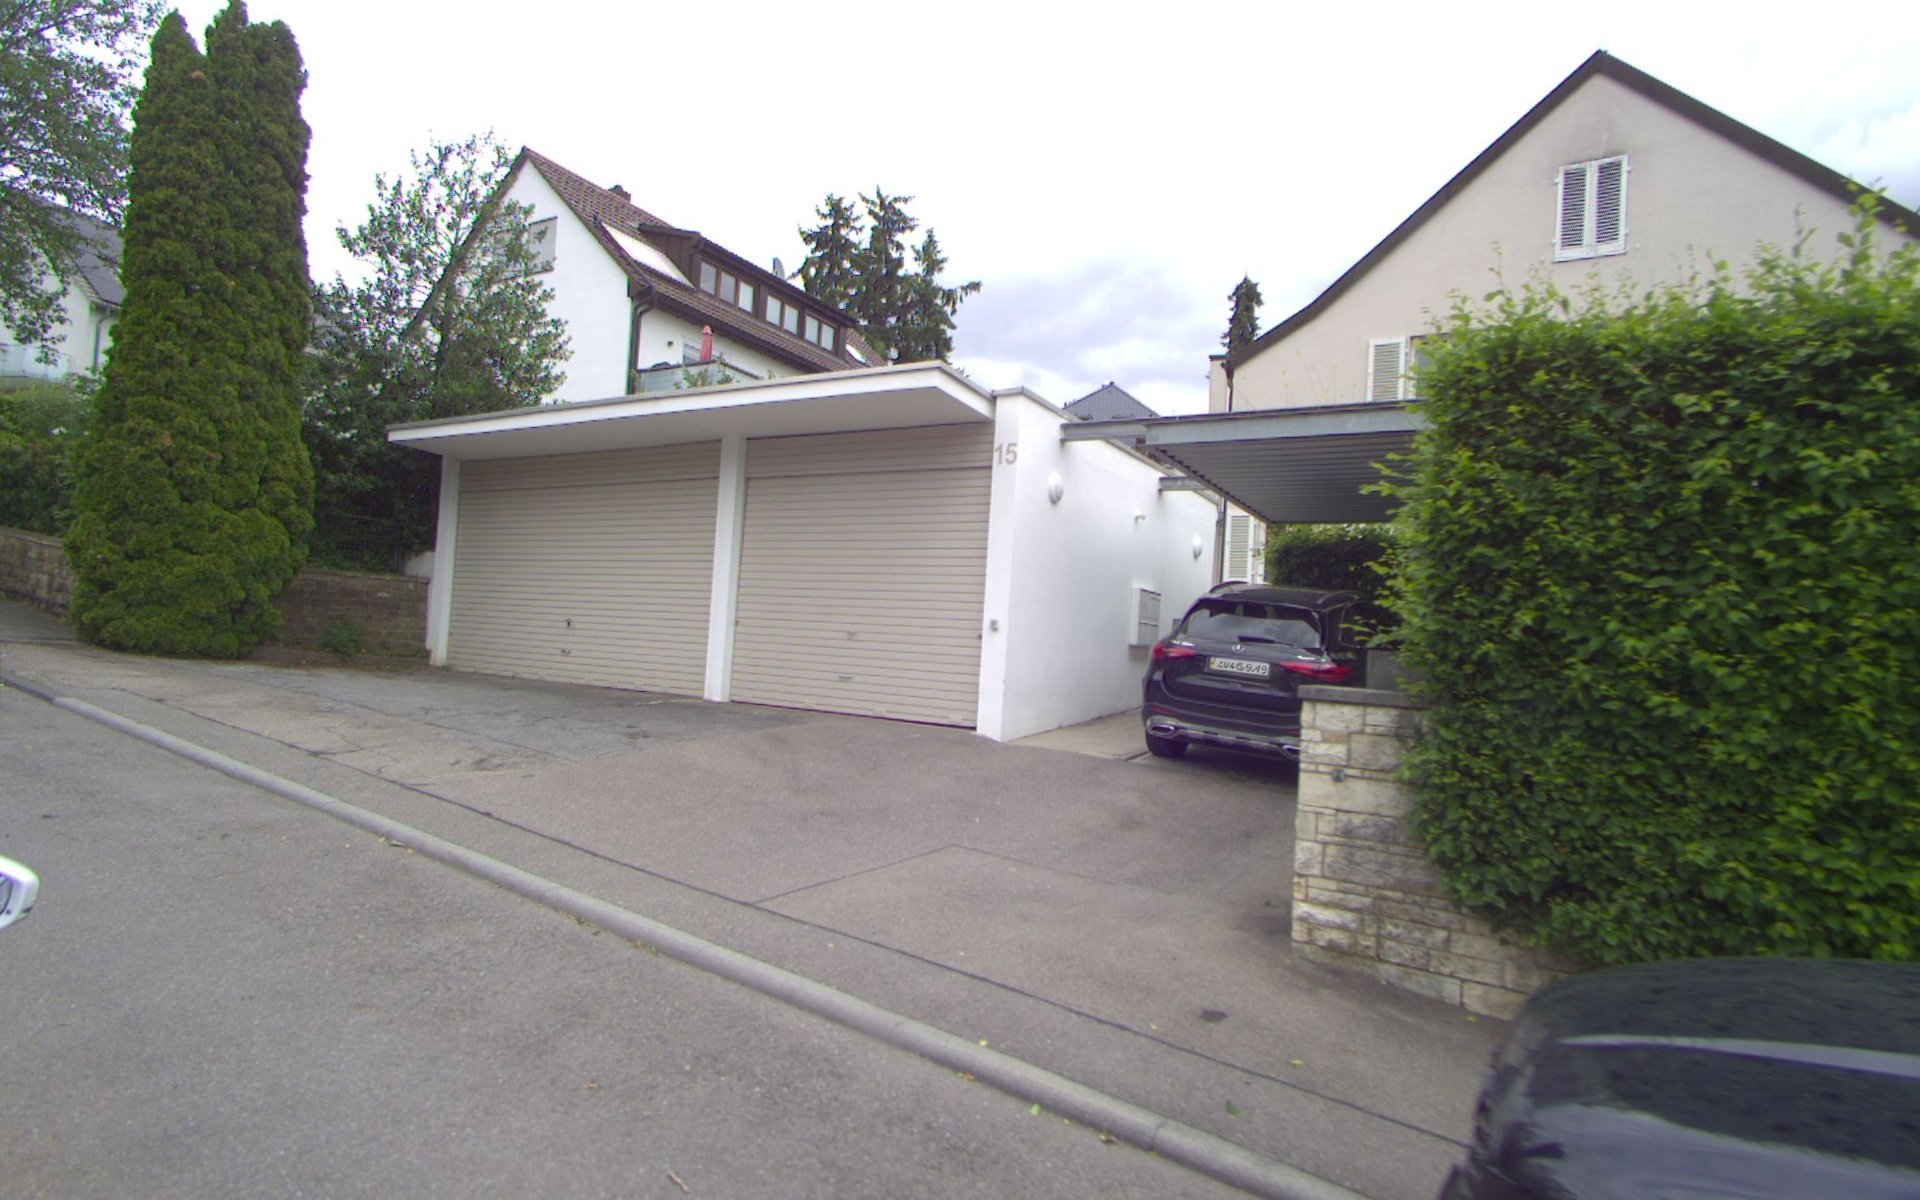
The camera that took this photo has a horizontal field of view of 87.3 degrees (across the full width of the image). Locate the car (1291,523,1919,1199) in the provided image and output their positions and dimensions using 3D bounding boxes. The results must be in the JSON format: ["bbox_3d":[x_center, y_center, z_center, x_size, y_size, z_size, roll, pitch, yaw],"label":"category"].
[{"bbox_3d":[2.690,1.048,0.633,4.440,1.636,1.997,6,-3,33],"label":"car"}]

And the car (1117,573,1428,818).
[{"bbox_3d":[3.264,0.660,9.830,1.853,1.673,4.361,7,5,30],"label":"car"}]

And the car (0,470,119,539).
[{"bbox_3d":[-22.229,-2.212,22.853,1.935,1.491,4.359,7,6,30],"label":"car"}]
